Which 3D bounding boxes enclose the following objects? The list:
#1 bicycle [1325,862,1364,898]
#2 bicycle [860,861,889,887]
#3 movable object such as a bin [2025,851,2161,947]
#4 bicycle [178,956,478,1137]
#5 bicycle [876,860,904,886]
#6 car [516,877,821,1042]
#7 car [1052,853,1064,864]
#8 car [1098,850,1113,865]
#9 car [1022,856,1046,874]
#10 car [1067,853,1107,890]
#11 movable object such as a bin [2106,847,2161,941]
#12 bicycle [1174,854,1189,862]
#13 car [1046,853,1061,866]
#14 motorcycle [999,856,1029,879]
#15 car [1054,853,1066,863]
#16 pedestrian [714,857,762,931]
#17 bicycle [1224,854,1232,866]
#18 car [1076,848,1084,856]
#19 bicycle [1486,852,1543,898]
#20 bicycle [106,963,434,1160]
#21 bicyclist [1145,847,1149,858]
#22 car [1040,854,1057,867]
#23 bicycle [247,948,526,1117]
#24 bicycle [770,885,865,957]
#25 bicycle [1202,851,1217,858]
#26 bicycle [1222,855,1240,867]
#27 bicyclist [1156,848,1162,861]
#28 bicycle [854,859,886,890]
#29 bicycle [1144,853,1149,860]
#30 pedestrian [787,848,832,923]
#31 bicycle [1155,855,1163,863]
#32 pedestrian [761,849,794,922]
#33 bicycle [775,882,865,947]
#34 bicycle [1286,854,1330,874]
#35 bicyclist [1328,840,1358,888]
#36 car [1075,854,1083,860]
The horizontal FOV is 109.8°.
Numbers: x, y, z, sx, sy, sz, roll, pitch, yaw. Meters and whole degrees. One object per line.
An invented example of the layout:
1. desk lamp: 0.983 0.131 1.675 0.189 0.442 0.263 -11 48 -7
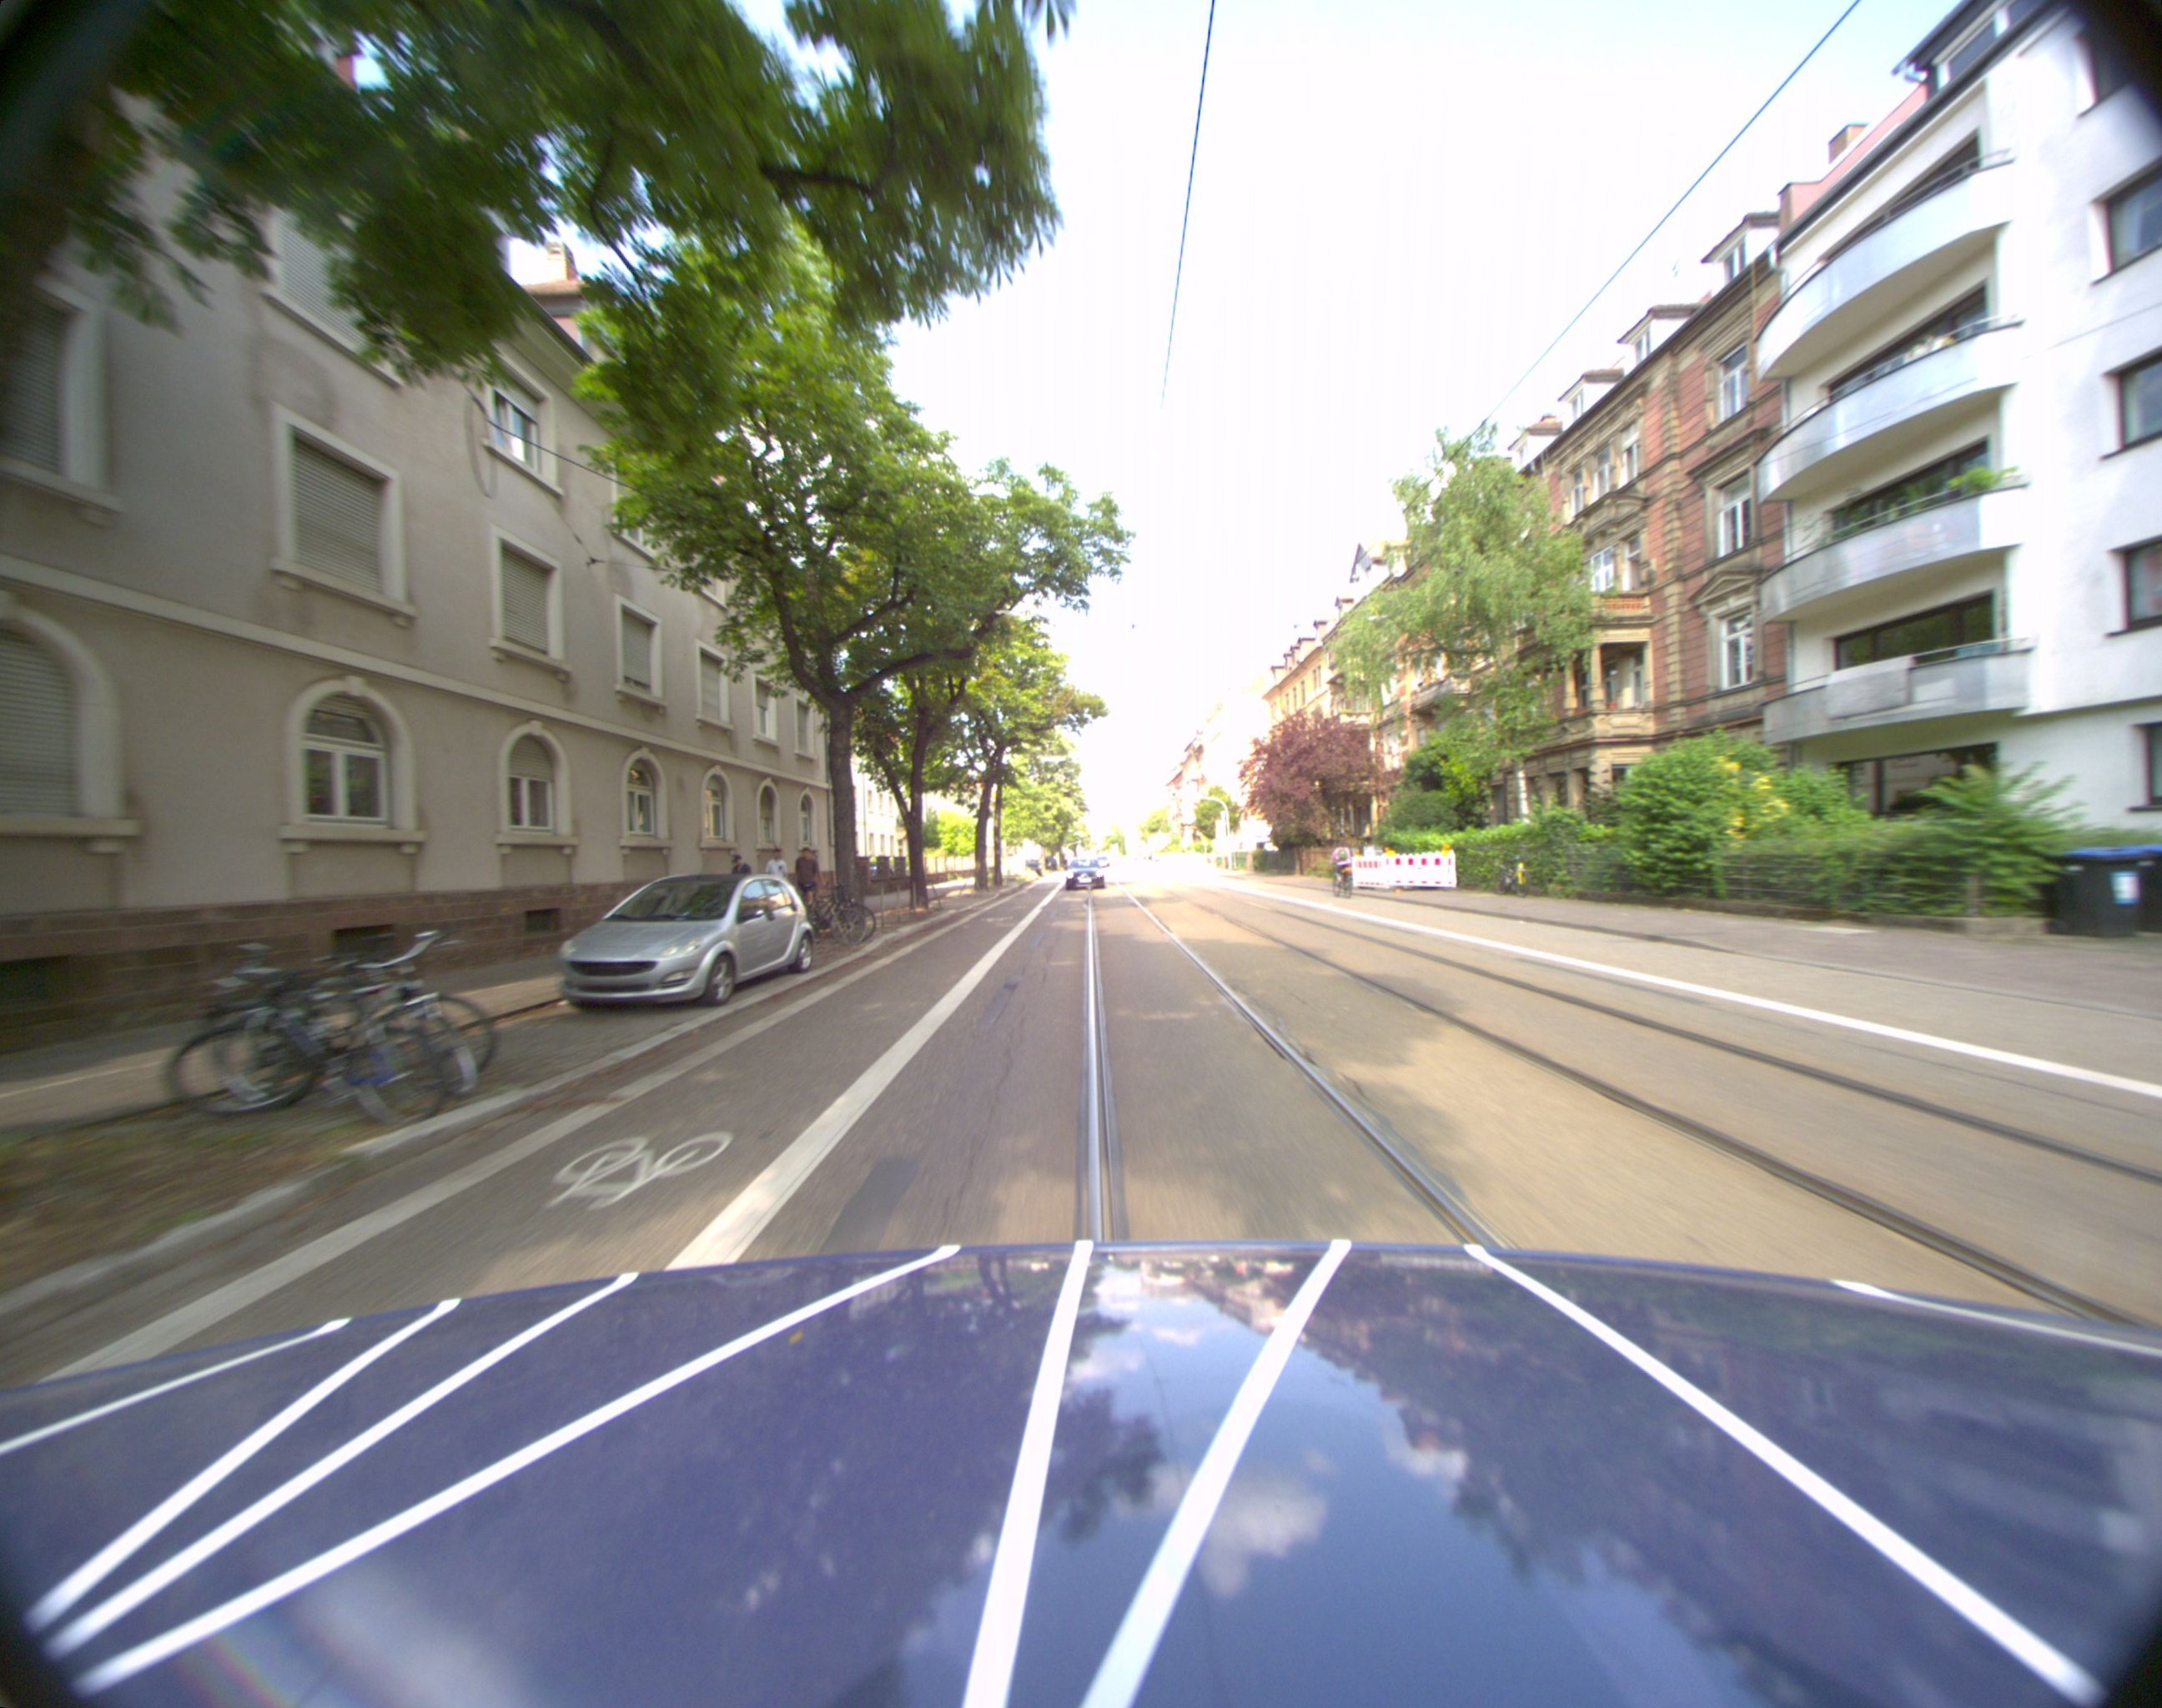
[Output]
1. bicycle: 7.901 0.766 22.865 0.570 0.984 1.918 -2 0 3
2. bicycle: -10.543 1.004 38.925 0.654 1.184 2.598 -3 1 1
3. movable object such as a bin: 12.333 0.529 9.245 0.774 1.101 0.733 -2 1 0
4. bicycle: -4.855 1.235 4.921 1.650 1.064 0.348 -2 1 4
5. bicycle: -9.767 0.966 38.910 0.654 1.184 2.598 -3 1 1
6. car: -4.744 1.105 9.462 1.589 1.436 3.898 -2 0 1
7. car: -3.428 0.681 115.798 1.693 1.537 3.460 -2 0 0
8. car: 3.020 0.456 95.552 1.715 1.718 3.736 -3 1 1
9. car: -3.991 0.942 64.843 1.693 1.380 4.000 -2 0 0
10. car: 0.260 0.773 35.671 1.693 1.568 4.156 -2 0 0
11. movable object such as a bin: 13.239 0.471 9.155 0.774 1.101 0.733 -2 1 0
12. bicycle: 12.363 0.516 93.554 1.750 0.936 0.484 0 1 25
13. car: -3.422 0.677 94.181 1.693 1.537 3.617 -2 0 0
14. motorcycle: -4.355 0.886 49.579 0.812 1.485 2.065 -2 1 -43
15. car: -3.353 0.577 122.366 1.693 1.537 3.460 -2 0 0
16. pedestrian: -7.966 0.906 17.673 0.582 1.630 0.976 -2 1 1
17. bicycle: 11.743 0.466 60.651 0.400 0.935 1.473 0 -2 3
18. car: -0.240 -0.531 190.665 1.694 1.831 5.028 -2 0 -2
19. bicycle: 11.199 0.524 19.692 0.413 1.130 1.819 -2 0 1
20. bicycle: -4.823 1.228 4.541 1.650 1.064 0.348 -2 1 4
21. bicyclist: 9.236 -0.185 107.043 0.477 1.490 0.743 0 1 -2
22. car: -3.596 0.713 84.569 1.693 1.380 4.000 -2 0 0
23. bicycle: -4.802 1.229 5.277 1.650 1.064 0.348 -2 1 4
24. bicycle: -4.750 1.212 13.730 1.490 1.214 0.518 -2 2 7
25. bicycle: 15.863 0.050 93.960 1.753 0.936 0.483 0 1 -1
26. bicycle: 12.348 0.563 62.434 1.431 0.935 0.401 0 -2 3
27. bicyclist: 8.492 0.060 82.547 0.614 1.490 0.743 0 1 13
28. bicycle: -9.979 0.950 36.051 0.654 1.311 2.598 -3 1 1
29. bicycle: 9.233 0.392 107.140 0.483 0.936 1.754 0 1 -2
30. pedestrian: -7.073 0.810 19.835 0.755 1.878 0.886 -2 1 1
31. bicycle: 8.505 0.541 82.585 0.607 0.936 1.756 0 1 13
32. pedestrian: -7.872 0.807 19.723 0.506 1.842 0.687 -2 1 1
33. bicycle: -4.911 1.141 14.342 1.490 1.146 0.518 -2 1 7
34. bicycle: 11.865 0.525 39.757 2.133 0.931 0.586 -2 1 0
35. bicyclist: 7.887 0.296 22.918 0.566 1.417 0.942 -2 1 3
36. car: -0.470 0.653 172.991 1.693 1.380 4.000 -2 0 0
